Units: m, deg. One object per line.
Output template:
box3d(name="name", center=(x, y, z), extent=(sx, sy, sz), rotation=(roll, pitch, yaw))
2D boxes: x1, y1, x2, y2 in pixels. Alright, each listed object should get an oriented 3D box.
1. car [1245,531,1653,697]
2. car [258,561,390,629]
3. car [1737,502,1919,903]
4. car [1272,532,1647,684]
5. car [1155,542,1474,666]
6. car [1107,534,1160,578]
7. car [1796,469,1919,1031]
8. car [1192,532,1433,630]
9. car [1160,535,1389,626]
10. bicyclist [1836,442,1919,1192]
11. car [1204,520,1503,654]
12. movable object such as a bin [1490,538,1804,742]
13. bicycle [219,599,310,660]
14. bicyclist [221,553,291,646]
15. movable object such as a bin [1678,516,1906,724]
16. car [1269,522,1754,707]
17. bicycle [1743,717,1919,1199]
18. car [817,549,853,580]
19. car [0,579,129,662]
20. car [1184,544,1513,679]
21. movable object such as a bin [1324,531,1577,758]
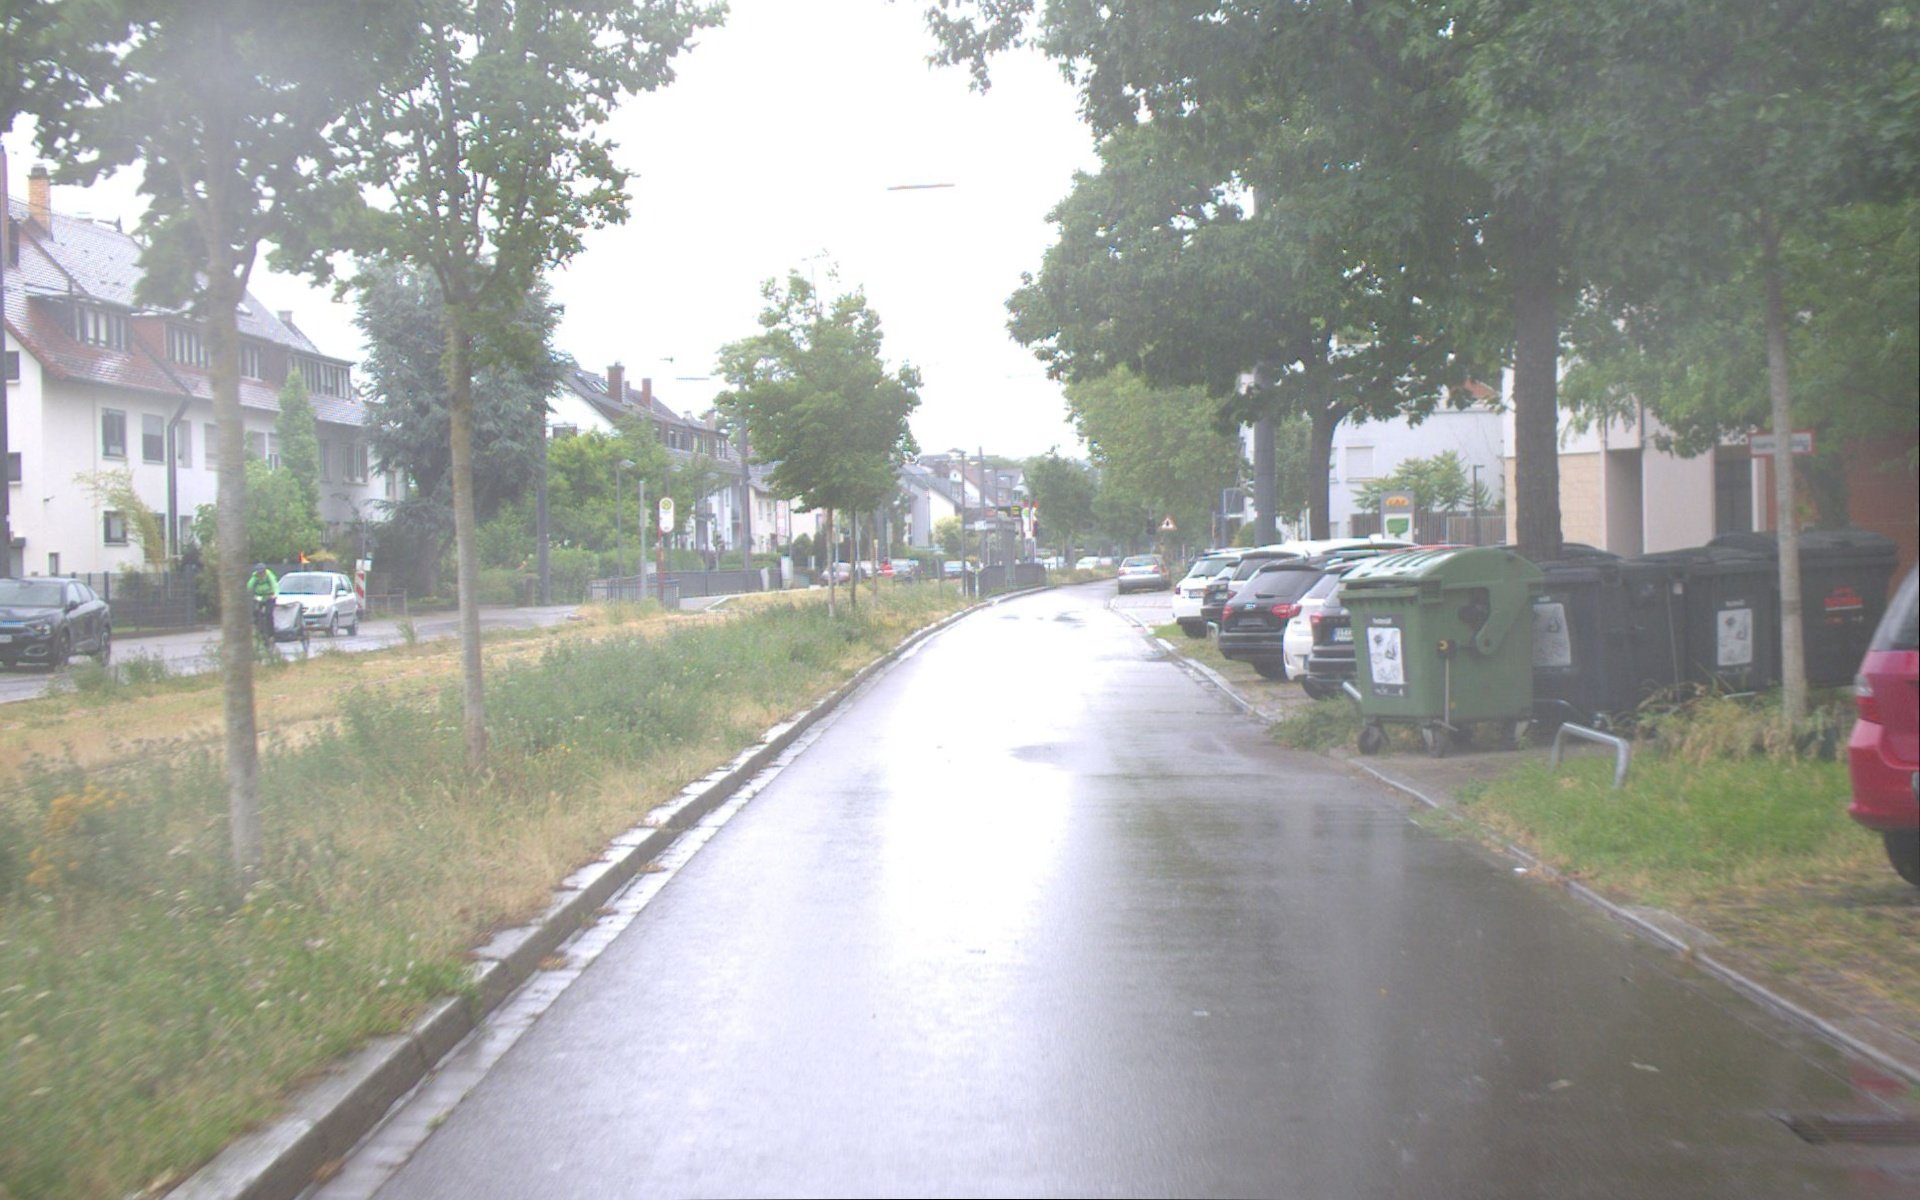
box3d(name="car", center=(4.976, 0.114, 34.799), extent=(4.028, 1.514, 1.585), rotation=(-2, 1, -34))
box3d(name="car", center=(-14.624, -0.134, 79.287), extent=(1.897, 1.464, 4.687), rotation=(1, 1, 3))
box3d(name="car", center=(5.349, 0.297, 14.763), extent=(3.875, 1.561, 1.732), rotation=(-5, 2, -36))
box3d(name="car", center=(5.539, 0.059, 37.930), extent=(4.028, 1.514, 1.585), rotation=(-2, 1, -34))
box3d(name="car", center=(4.595, 0.033, 44.314), extent=(4.028, 1.438, 1.585), rotation=(-2, 1, -36))
box3d(name="car", center=(6.655, -1.698, 131.907), extent=(1.833, 1.581, 4.000), rotation=(-2, 1, 1))
box3d(name="car", center=(4.974, 0.315, 11.104), extent=(4.135, 1.713, 2.000), rotation=(-5, 2, -31))
box3d(name="car", center=(6.060, -0.334, 58.933), extent=(4.028, 1.535, 1.585), rotation=(-2, 1, -36))
box3d(name="car", center=(5.675, -0.361, 61.857), extent=(4.028, 1.508, 1.585), rotation=(-2, 1, -36))
box3d(name="bicyclist", center=(2.217, 0.405, 6.436), extent=(0.809, 1.428, 1.060), rotation=(-2, 1, -2))
box3d(name="car", center=(5.431, -0.199, 47.288), extent=(4.028, 1.697, 1.585), rotation=(-2, 1, -36))
box3d(name="movable object such as a bin", center=(4.965, 0.269, 24.940), extent=(1.681, 1.321, 1.401), rotation=(-4, 2, -20))
box3d(name="bicycle", center=(-12.998, 0.540, 64.345), extent=(1.018, 1.024, 3.197), rotation=(-2, 1, 0))
box3d(name="bicyclist", center=(-13.042, -0.010, 63.736), extent=(1.018, 1.679, 1.092), rotation=(-2, 1, 1))
box3d(name="movable object such as a bin", center=(6.415, 0.147, 26.537), extent=(1.243, 1.515, 1.089), rotation=(-3, 1, -27))
box3d(name="car", center=(5.094, 0.098, 31.569), extent=(4.214, 1.514, 1.877), rotation=(-2, 1, -34))
box3d(name="bicycle", center=(2.227, 0.829, 6.478), extent=(0.809, 1.093, 2.517), rotation=(-2, 1, -2))
box3d(name="car", center=(-7.208, -2.052, 197.919), extent=(1.843, 1.666, 4.000), rotation=(-2, 1, 1))
box3d(name="car", center=(-15.405, 0.308, 56.920), extent=(1.897, 1.240, 4.687), rotation=(1, 1, 3))
box3d(name="car", center=(4.608, 0.111, 40.440), extent=(4.030, 1.438, 1.584), rotation=(-2, 1, -43))
box3d(name="movable object such as a bin", center=(3.504, 0.302, 24.682), extent=(1.125, 1.452, 1.401), rotation=(-7, 3, -20))
